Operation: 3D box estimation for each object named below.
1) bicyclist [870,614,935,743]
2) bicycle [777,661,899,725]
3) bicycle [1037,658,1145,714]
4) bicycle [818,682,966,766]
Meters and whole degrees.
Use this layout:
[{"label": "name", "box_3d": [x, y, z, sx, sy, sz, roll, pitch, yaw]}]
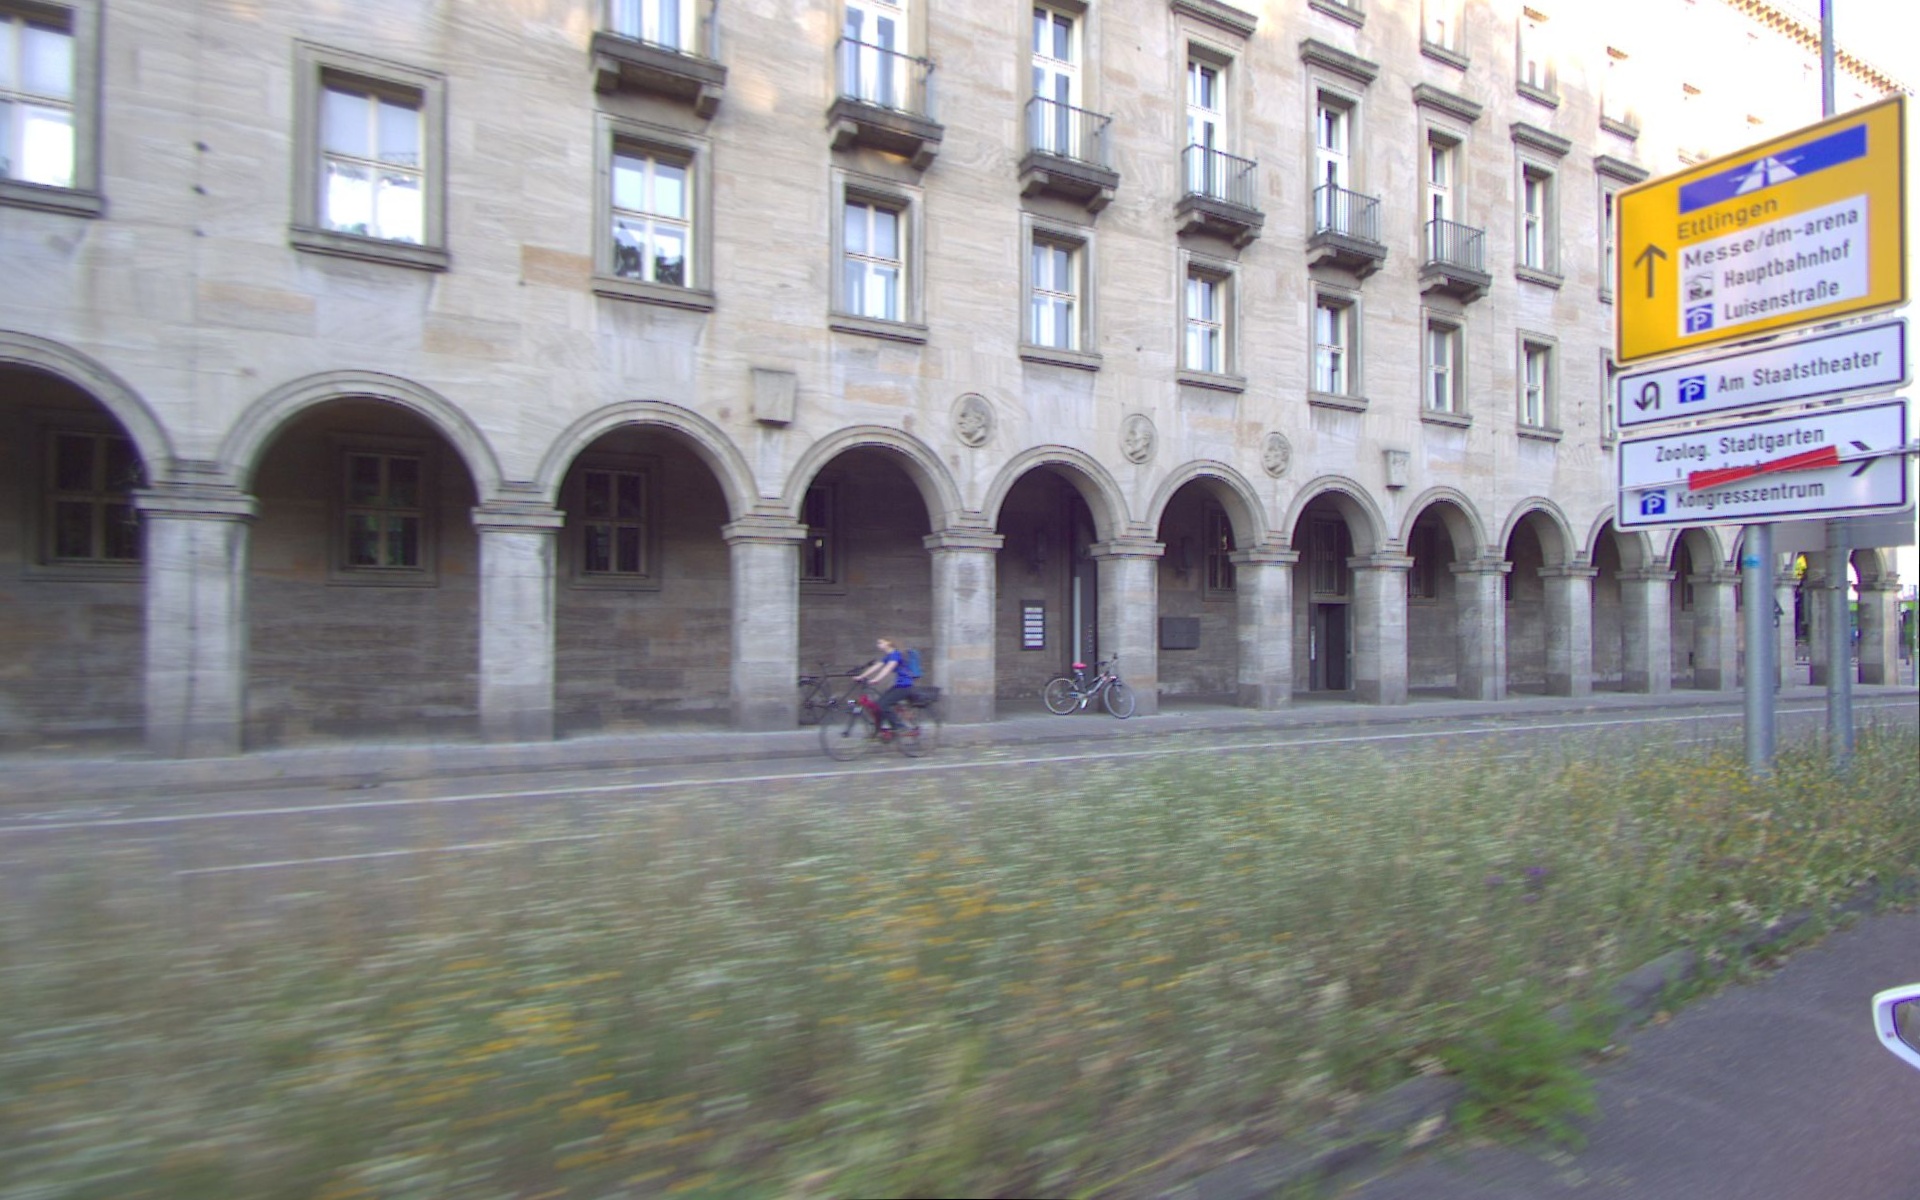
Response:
[{"label": "bicyclist", "box_3d": [-0.792, 1.064, 13.770, 0.739, 1.715, 0.534, 1, -2, -27]}, {"label": "bicycle", "box_3d": [-2.013, 1.520, 16.555, 1.969, 1.019, 0.478, 0, -2, -10]}, {"label": "bicycle", "box_3d": [2.440, 1.596, 18.770, 1.964, 1.019, 0.479, 0, -2, 8]}, {"label": "bicycle", "box_3d": [-0.910, 1.664, 13.684, 1.980, 1.019, 0.539, 1, -2, -29]}]
